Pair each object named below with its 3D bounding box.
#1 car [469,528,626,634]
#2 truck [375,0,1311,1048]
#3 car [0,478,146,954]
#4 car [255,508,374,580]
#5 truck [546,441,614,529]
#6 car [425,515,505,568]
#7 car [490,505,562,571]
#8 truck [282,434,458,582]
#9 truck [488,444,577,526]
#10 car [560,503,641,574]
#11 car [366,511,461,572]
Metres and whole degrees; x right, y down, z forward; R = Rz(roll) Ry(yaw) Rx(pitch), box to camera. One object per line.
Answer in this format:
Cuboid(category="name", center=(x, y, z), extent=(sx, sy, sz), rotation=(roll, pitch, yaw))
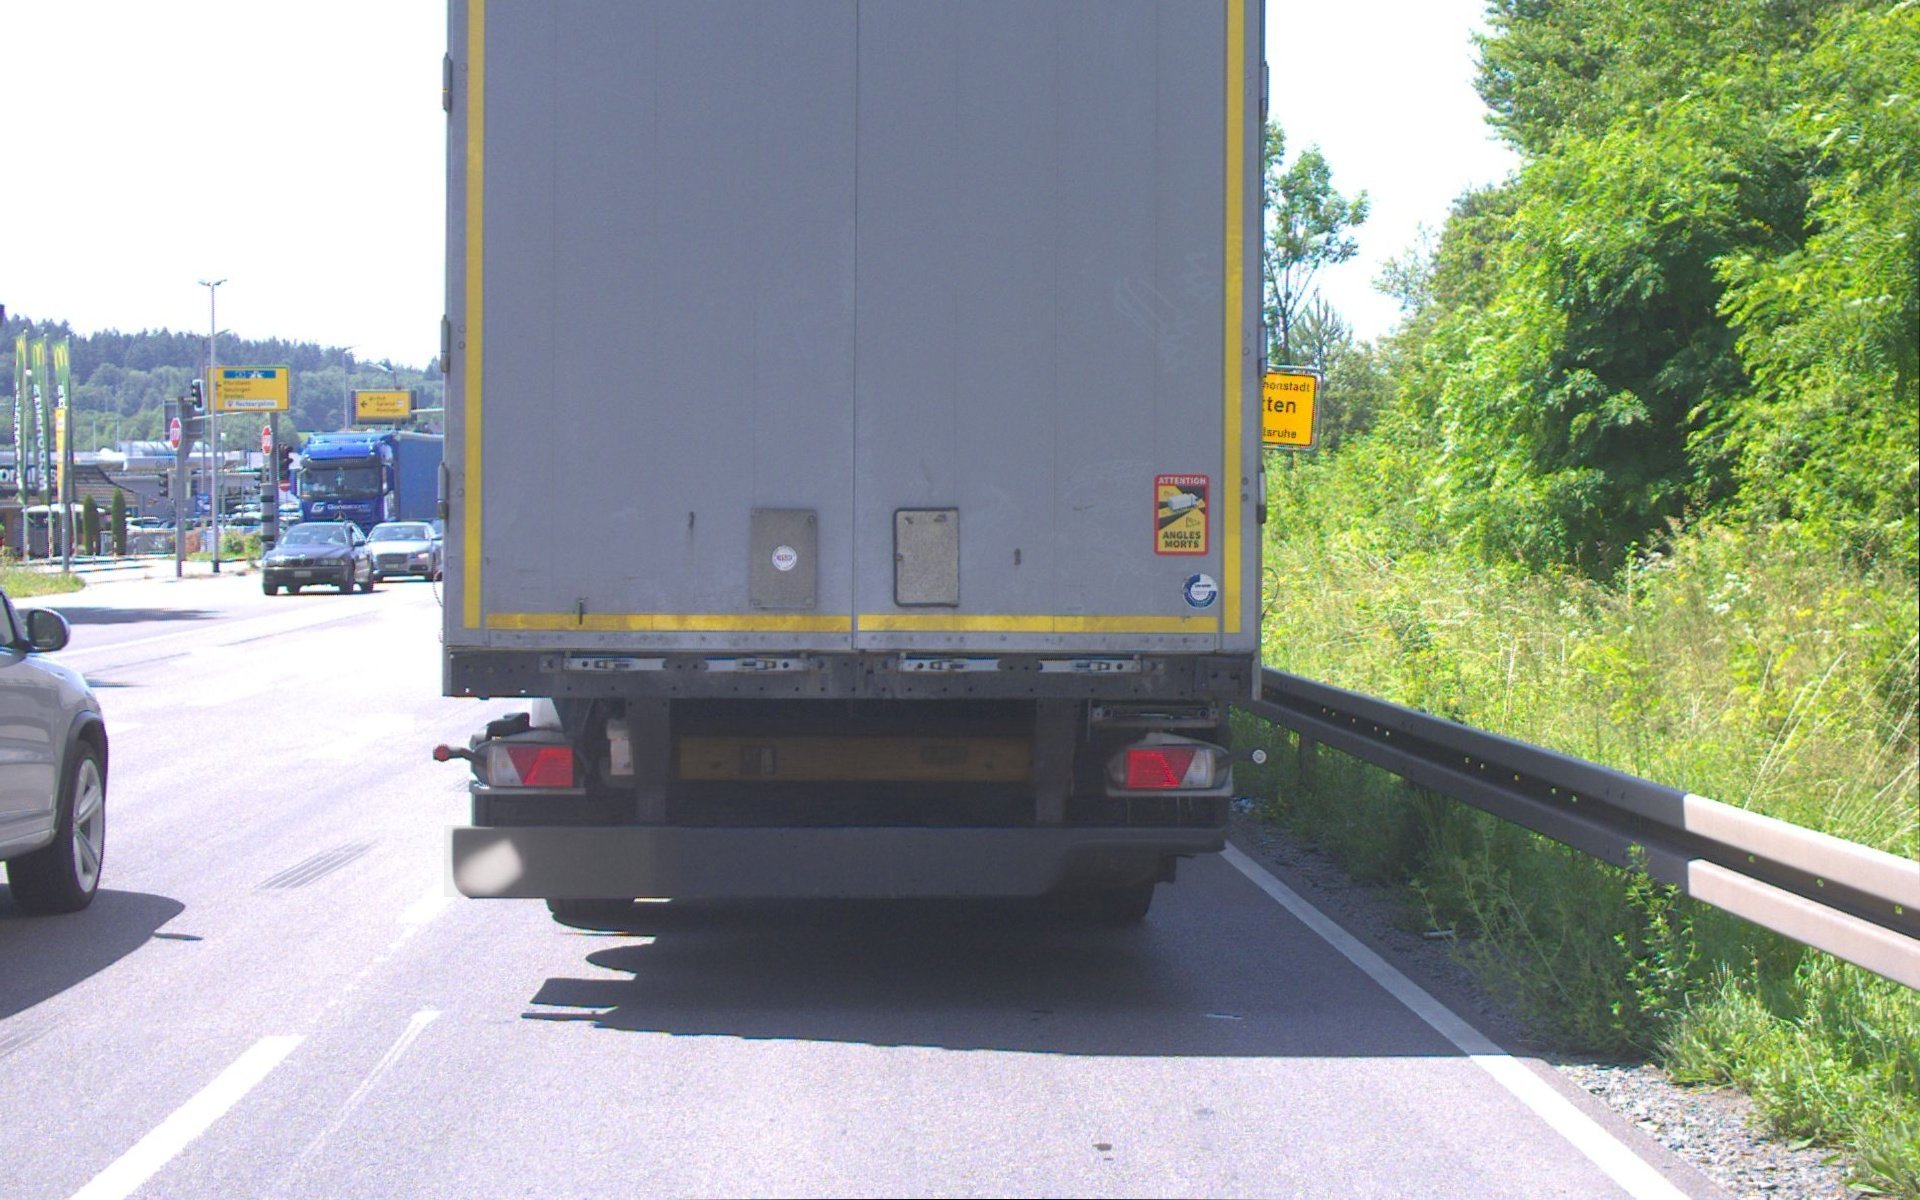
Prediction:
Cuboid(category="car", center=(-5.650, -0.280, 47.509), extent=(1.686, 1.393, 4.403), rotation=(0, 1, -1))
Cuboid(category="truck", center=(-0.428, -1.057, 18.689), extent=(2.755, 4.623, 16.656), rotation=(1, 0, -1))
Cuboid(category="car", center=(-4.246, 0.389, 12.014), extent=(1.804, 1.664, 4.292), rotation=(1, 1, -1))
Cuboid(category="car", center=(-12.983, -1.114, 69.323), extent=(1.766, 1.381, 4.000), rotation=(1, 0, -2))
Cuboid(category="truck", center=(-19.948, -5.891, 179.821), extent=(3.145, 4.334, 17.547), rotation=(0, 1, -7))
Cuboid(category="car", center=(-13.767, -1.637, 95.775), extent=(1.641, 1.433, 4.017), rotation=(0, 2, 0))
Cuboid(category="car", center=(-13.414, -1.923, 106.483), extent=(1.773, 2.007, 4.000), rotation=(0, 1, -1))
Cuboid(category="truck", center=(-17.825, -2.764, 105.046), extent=(2.968, 4.162, 16.576), rotation=(0, 1, -2))
Cuboid(category="truck", center=(-18.382, -4.899, 148.480), extent=(2.846, 3.340, 11.483), rotation=(0, 1, -2))
Cuboid(category="car", center=(-10.440, -1.786, 100.016), extent=(1.993, 2.007, 4.000), rotation=(0, 1, -1))
Cuboid(category="car", center=(-13.062, -1.376, 82.298), extent=(1.766, 1.381, 4.000), rotation=(1, 0, -2))
